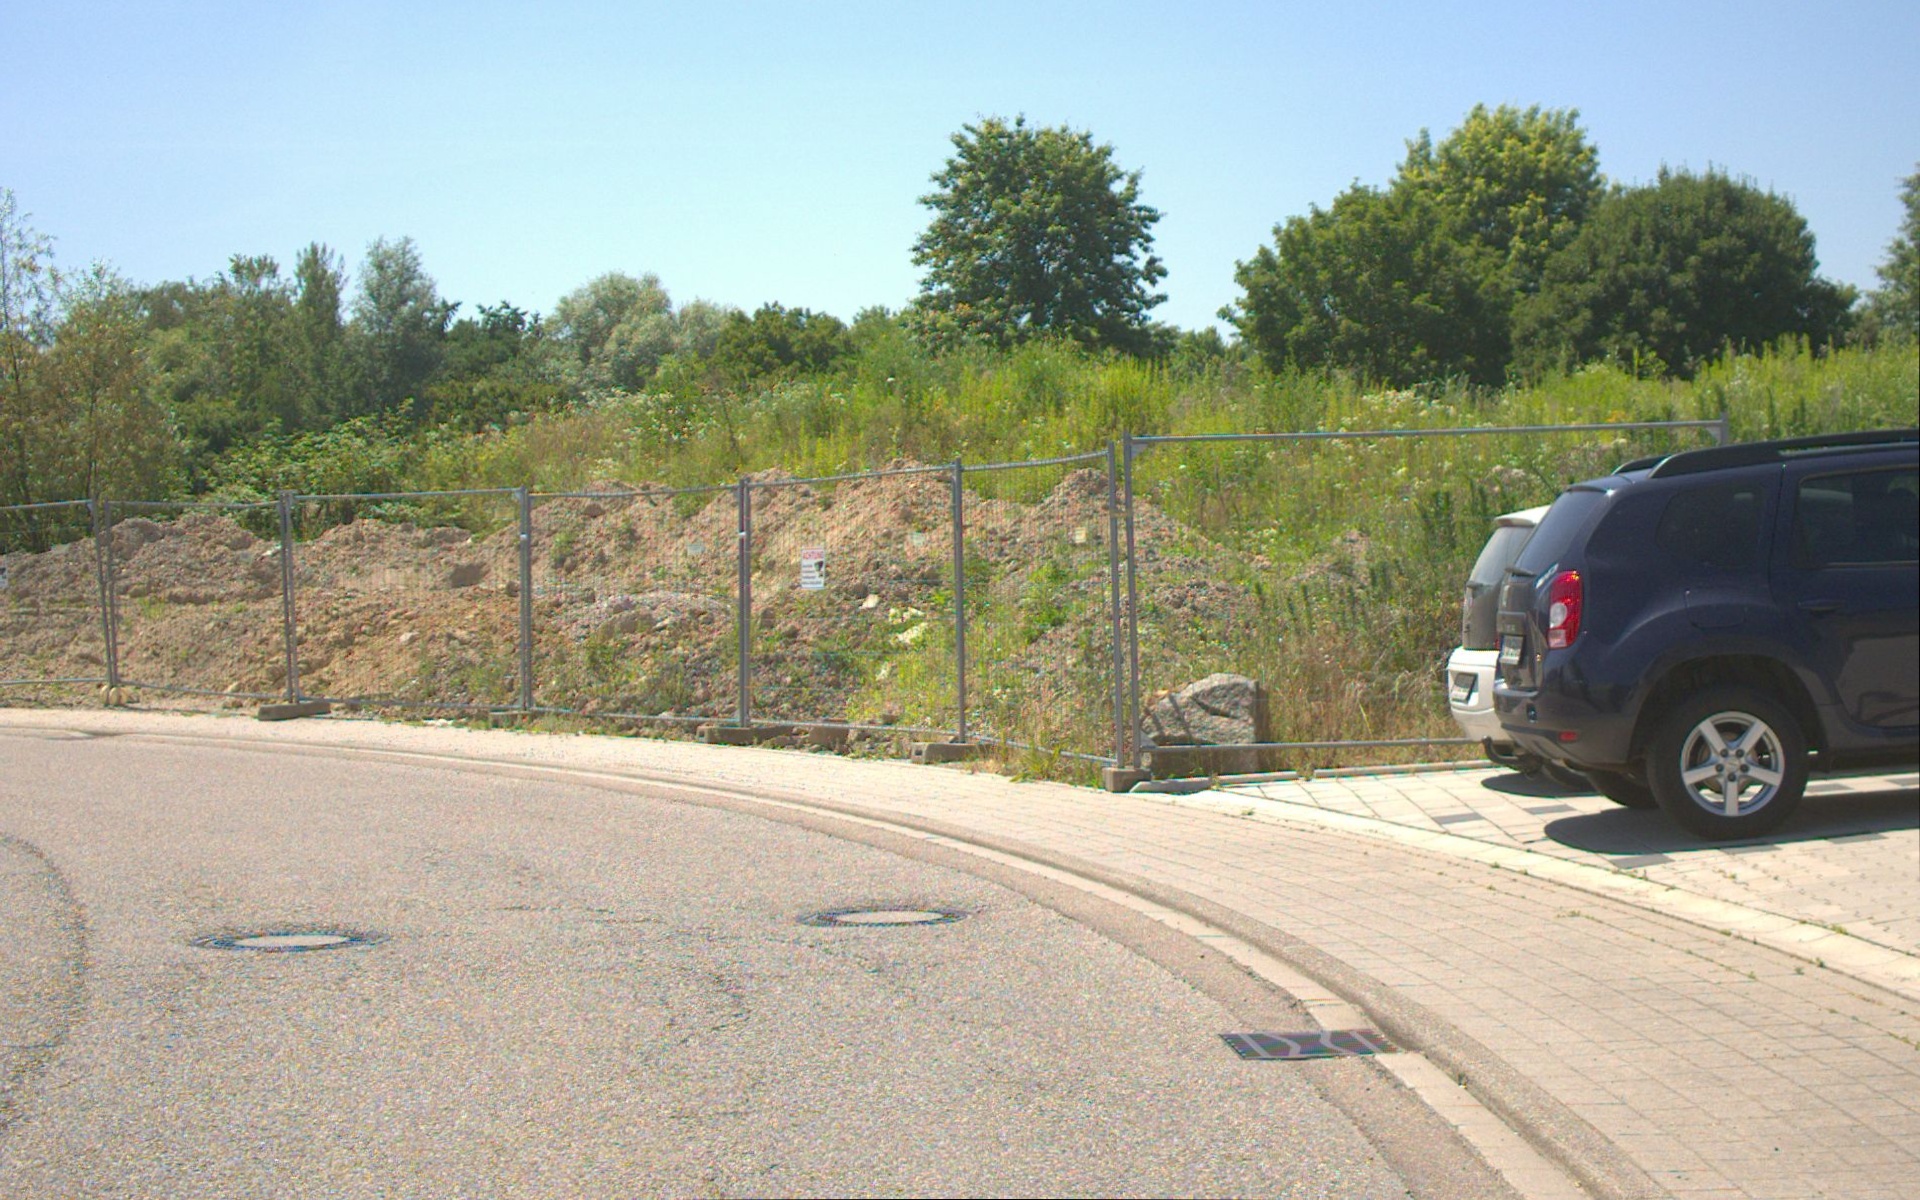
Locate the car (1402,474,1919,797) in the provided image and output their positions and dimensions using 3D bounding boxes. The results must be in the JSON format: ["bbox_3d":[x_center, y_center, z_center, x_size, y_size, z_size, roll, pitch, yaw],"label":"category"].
[{"bbox_3d":[4.484,0.107,17.993,4.009,1.457,1.893,-4,1,-1],"label":"car"}]

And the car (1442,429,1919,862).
[{"bbox_3d":[4.352,0.062,15.300,4.010,1.649,1.858,-6,1,0],"label":"car"}]
